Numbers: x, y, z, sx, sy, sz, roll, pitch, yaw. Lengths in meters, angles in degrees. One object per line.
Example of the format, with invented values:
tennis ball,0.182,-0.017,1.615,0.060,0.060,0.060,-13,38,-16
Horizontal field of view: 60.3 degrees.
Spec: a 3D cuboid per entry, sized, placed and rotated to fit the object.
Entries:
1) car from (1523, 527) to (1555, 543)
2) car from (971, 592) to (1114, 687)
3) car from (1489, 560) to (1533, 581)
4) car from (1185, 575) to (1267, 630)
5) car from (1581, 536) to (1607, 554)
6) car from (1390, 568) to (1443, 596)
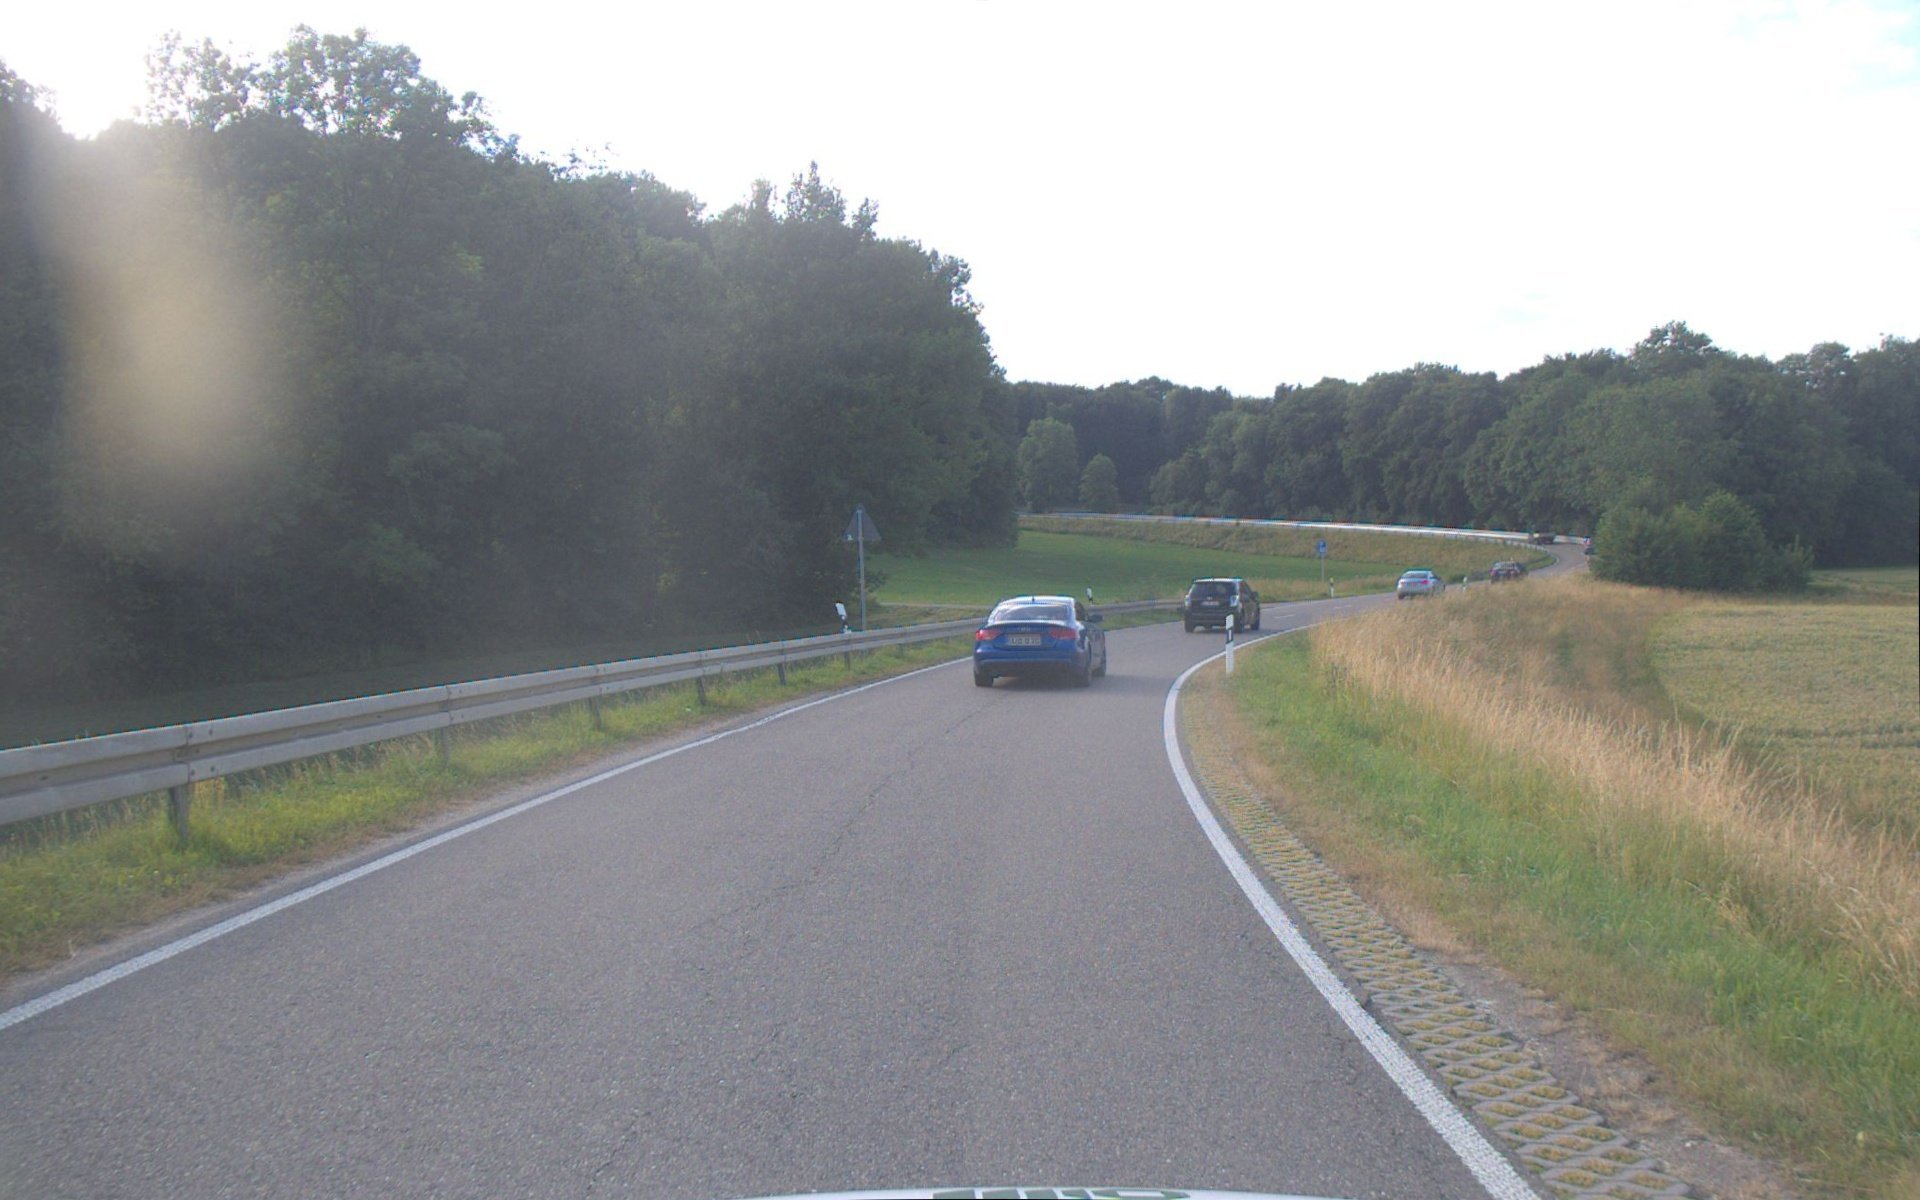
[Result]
car,70.046,-7.881,200.129,1.957,1.802,3.993,-1,3,-9
car,1.417,0.583,26.755,1.779,1.362,4.354,-1,0,10
car,35.715,-1.911,107.179,1.450,1.248,3.279,-3,-1,43
car,8.239,0.047,50.994,1.823,1.596,4.002,1,1,19
car,63.795,-5.580,166.467,1.951,1.708,4.183,0,3,14
car,23.830,-0.944,86.255,1.651,1.400,3.992,-2,0,30
